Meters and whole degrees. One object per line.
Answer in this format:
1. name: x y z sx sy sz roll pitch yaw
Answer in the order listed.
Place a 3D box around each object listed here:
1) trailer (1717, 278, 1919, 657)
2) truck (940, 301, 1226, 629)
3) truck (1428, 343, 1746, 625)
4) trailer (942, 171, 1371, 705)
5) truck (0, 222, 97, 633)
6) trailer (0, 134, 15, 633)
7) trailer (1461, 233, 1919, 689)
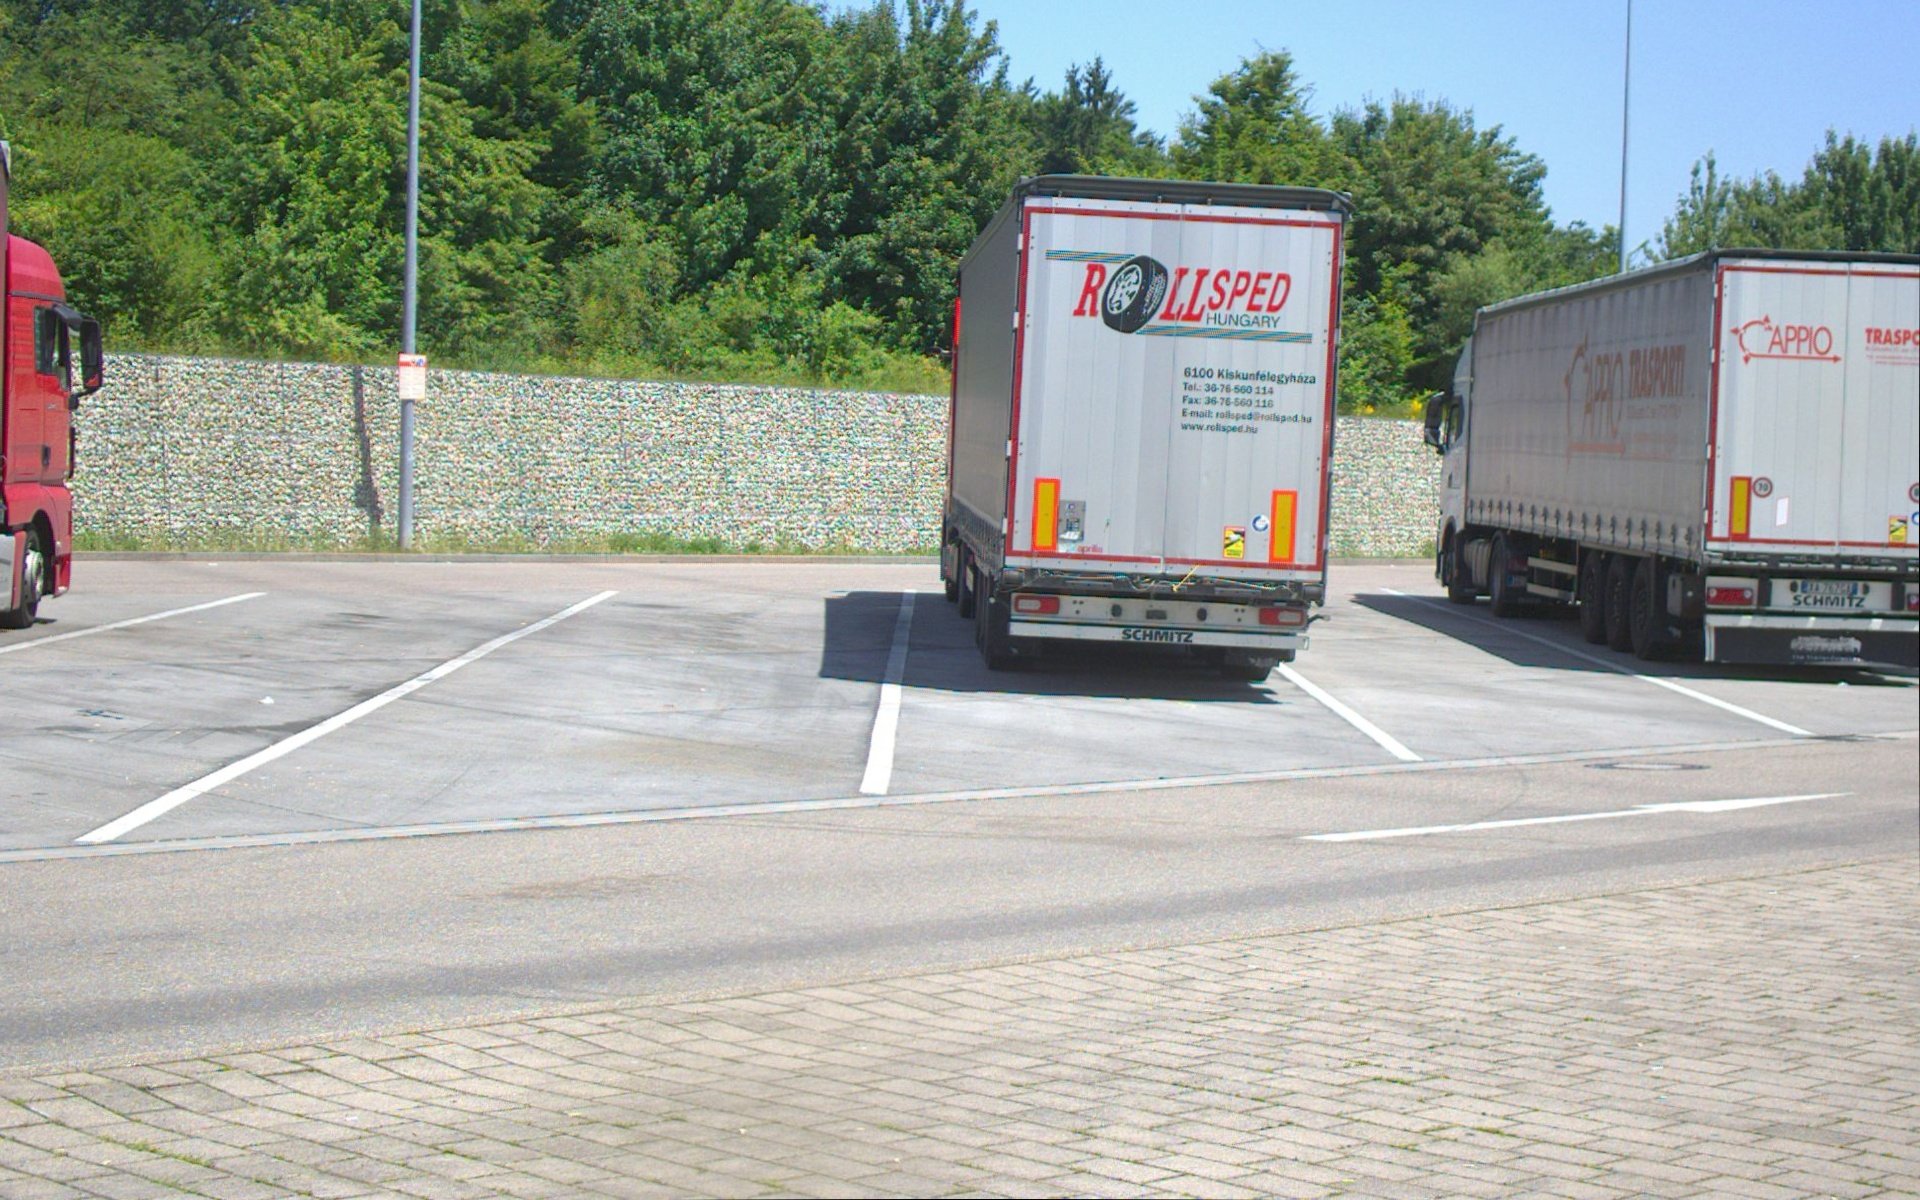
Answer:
1. trailer: 11.790 -1.503 39.372 2.858 4.095 13.765 2 3 -1
2. truck: 1.280 -1.572 39.307 2.865 3.351 5.975 2 3 -1
3. truck: 8.091 -1.567 45.126 2.865 3.351 5.975 2 3 -1
4. trailer: 1.464 -1.568 33.106 2.858 3.958 13.765 2 3 -1
5. truck: -9.247 -1.457 28.185 2.812 3.351 5.975 2 3 -1
6. trailer: -9.160 -1.467 21.365 2.821 4.057 13.765 2 3 -1
7. trailer: 8.193 -1.587 38.360 2.858 4.095 13.765 2 3 -1
